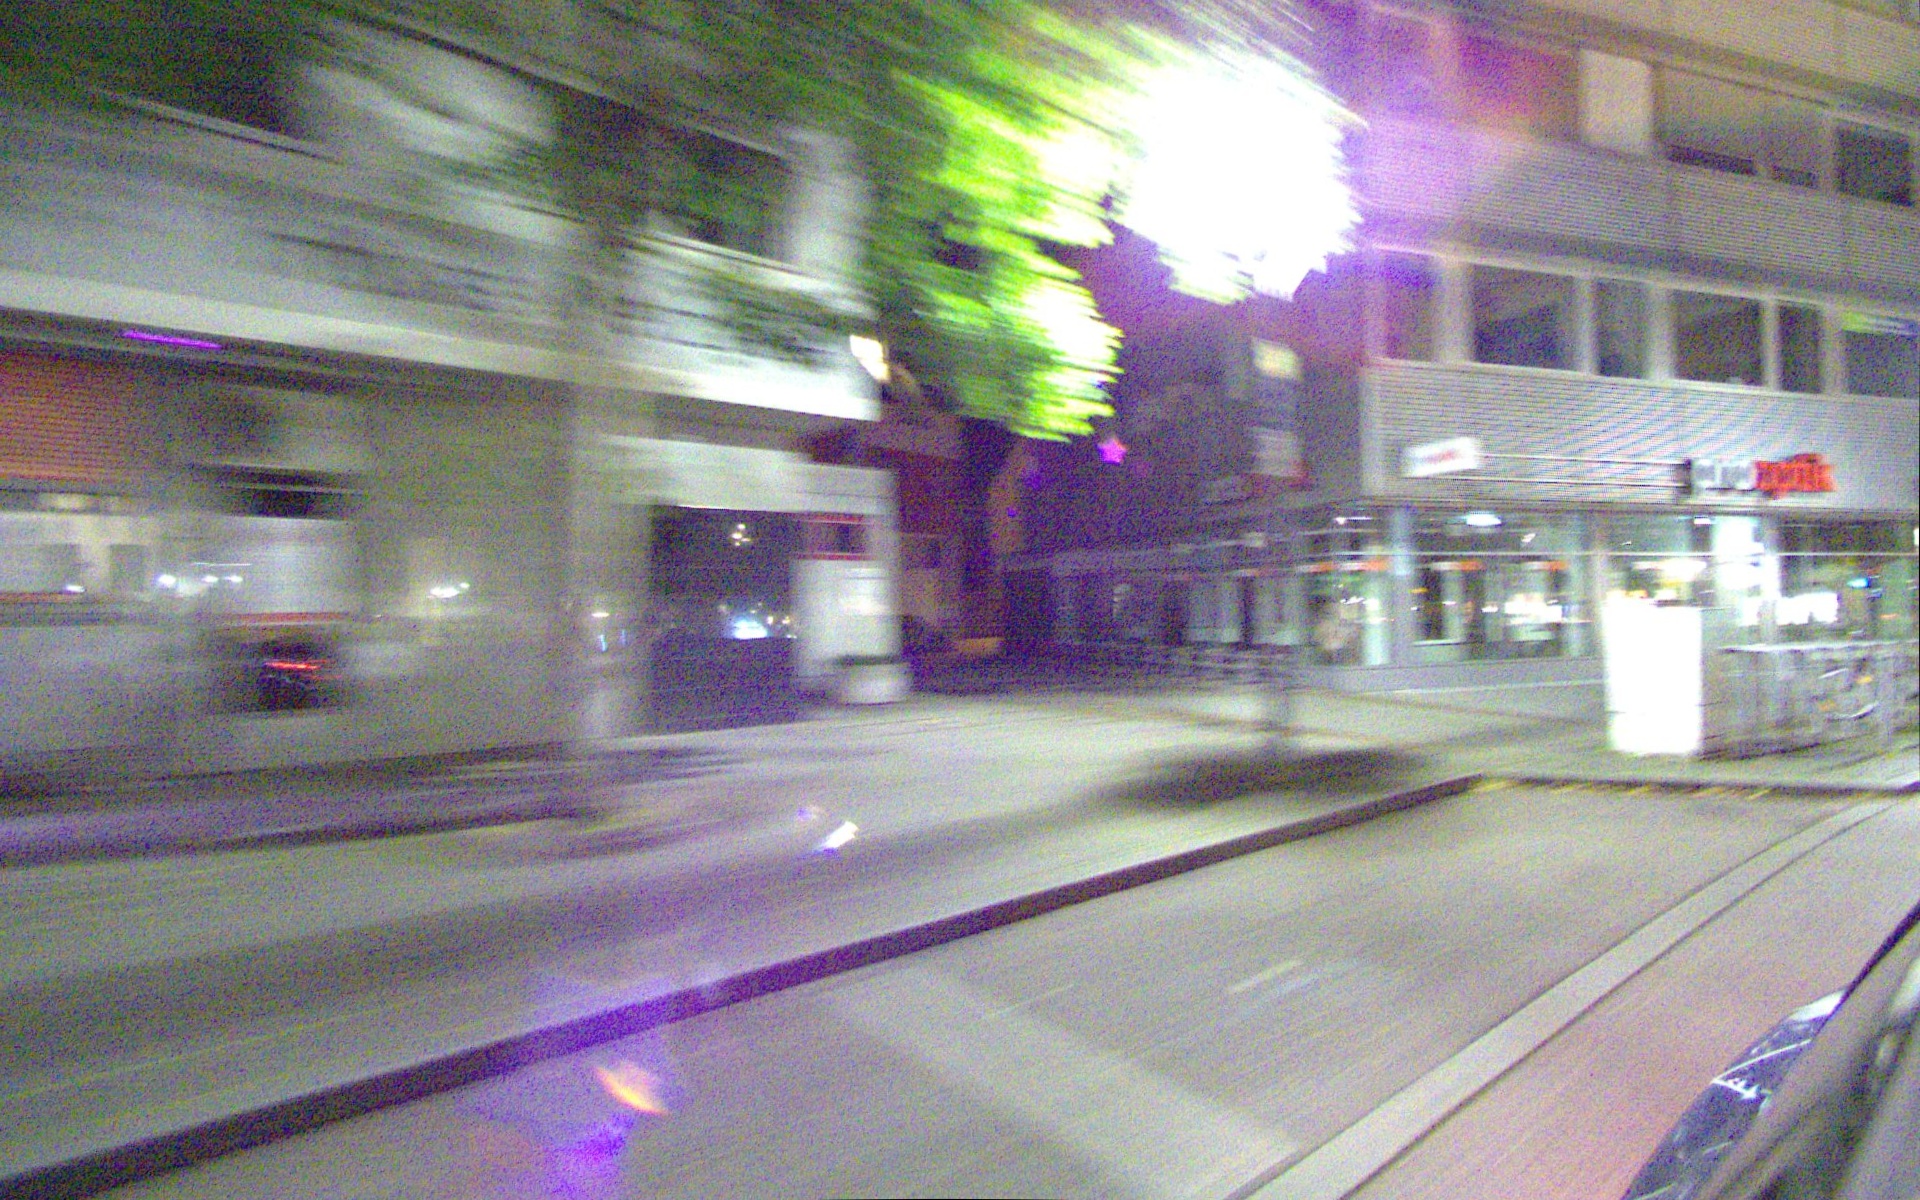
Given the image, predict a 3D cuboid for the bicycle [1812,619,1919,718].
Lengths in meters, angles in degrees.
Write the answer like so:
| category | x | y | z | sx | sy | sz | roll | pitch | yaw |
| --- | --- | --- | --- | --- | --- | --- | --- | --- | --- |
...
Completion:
| category | x | y | z | sx | sy | sz | roll | pitch | yaw |
| --- | --- | --- | --- | --- | --- | --- | --- | --- | --- |
| bicycle | 10.693 | 0.756 | 11.283 | 0.644 | 1.076 | 1.751 | 1 | -1 | -42 |
